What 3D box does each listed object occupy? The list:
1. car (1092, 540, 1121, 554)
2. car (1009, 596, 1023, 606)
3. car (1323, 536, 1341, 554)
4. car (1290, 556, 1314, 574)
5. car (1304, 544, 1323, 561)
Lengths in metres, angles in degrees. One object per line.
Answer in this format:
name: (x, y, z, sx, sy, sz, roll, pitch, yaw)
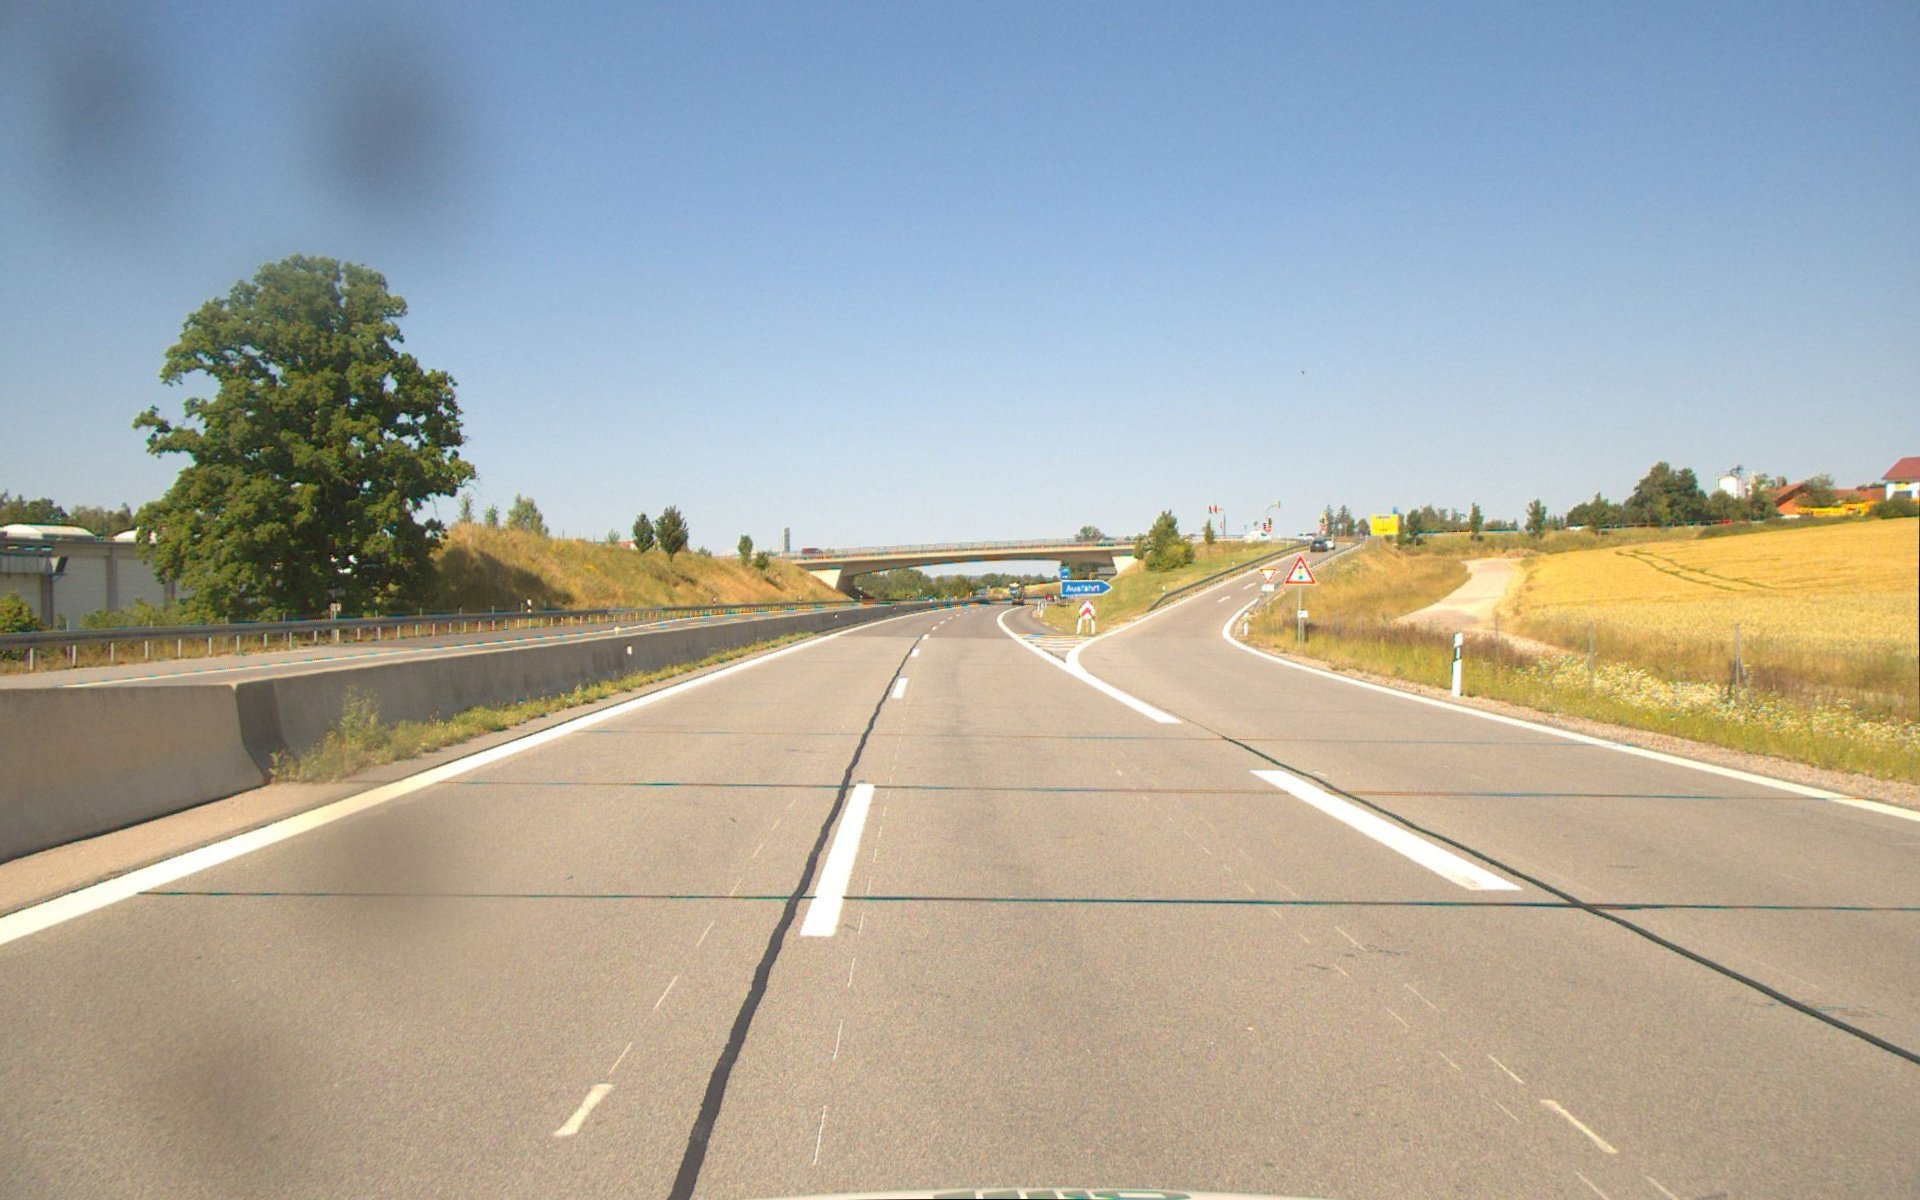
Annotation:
car: (22.631, -8.163, 256.183, 4.164, 2.056, 1.999, -2, 1, -4)
car: (8.482, 0.140, 250.918, 1.952, 1.445, 4.000, -2, 0, 1)
car: (47.318, -7.001, 210.566, 1.951, 2.049, 4.003, -2, 0, 16)
car: (33.194, -3.401, 160.441, 1.951, 1.646, 4.003, -2, 0, 16)
car: (43.766, -5.874, 204.830, 1.951, 2.049, 4.003, -2, 0, 16)
